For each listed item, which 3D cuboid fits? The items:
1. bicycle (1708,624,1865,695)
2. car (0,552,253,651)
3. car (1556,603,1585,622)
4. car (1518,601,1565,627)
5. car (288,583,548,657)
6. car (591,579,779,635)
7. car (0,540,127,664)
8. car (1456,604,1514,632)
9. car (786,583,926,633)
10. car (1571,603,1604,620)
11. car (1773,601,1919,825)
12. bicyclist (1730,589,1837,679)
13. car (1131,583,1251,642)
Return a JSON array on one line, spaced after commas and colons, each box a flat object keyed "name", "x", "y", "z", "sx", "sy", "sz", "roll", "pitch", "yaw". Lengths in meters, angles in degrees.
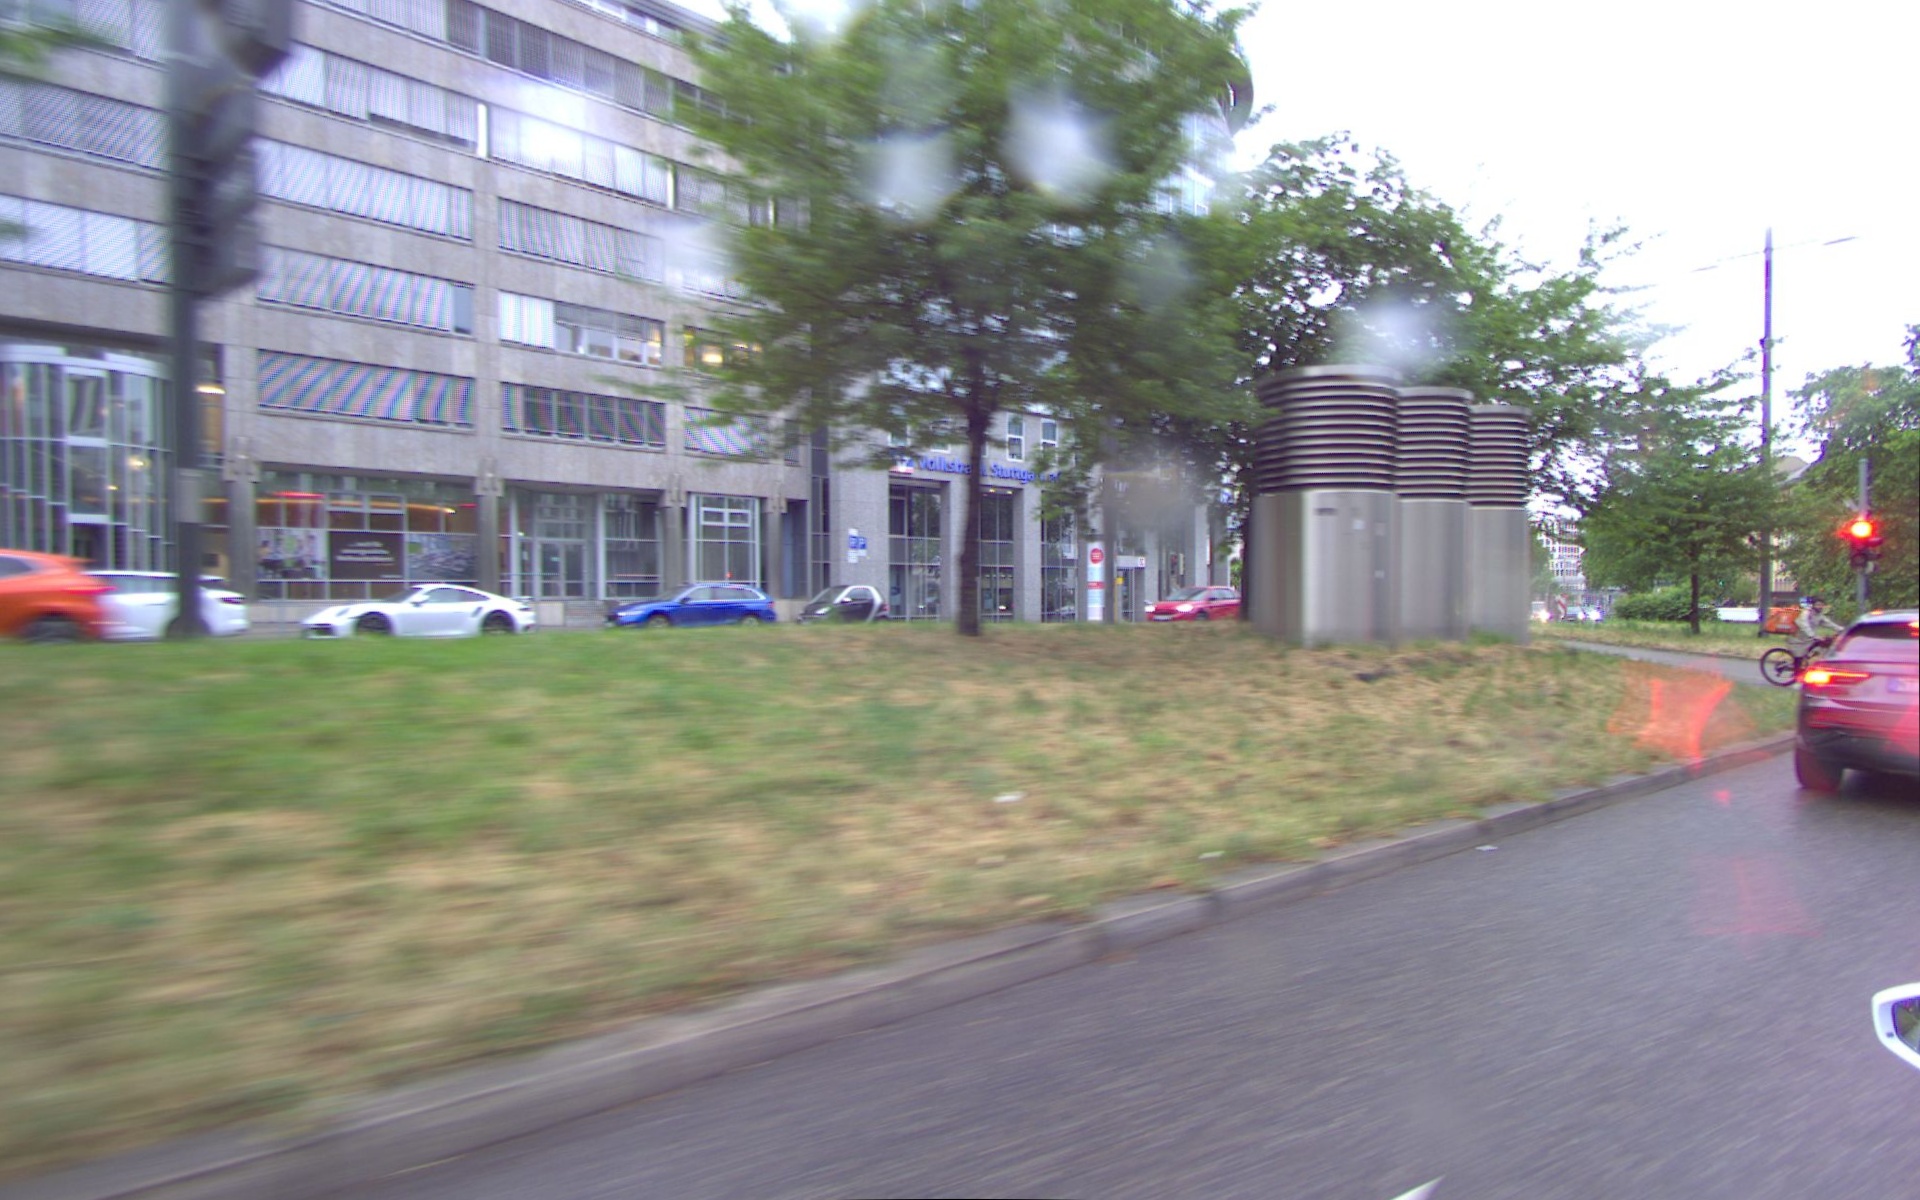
[{"name": "bicycle", "x": 15.593, "y": 1.104, "z": 19.030, "sx": 0.995, "sy": 1.129, "sz": 2.059, "roll": 2, "pitch": 2, "yaw": -17}, {"name": "car", "x": -15.661, "y": 0.019, "z": 17.923, "sx": 4.873, "sy": 1.644, "sz": 1.761, "roll": 1, "pitch": 1, "yaw": -40}, {"name": "car", "x": 51.541, "y": 1.070, "z": 84.817, "sx": 1.781, "sy": 1.506, "sz": 3.986, "roll": 3, "pitch": 1, "yaw": 35}, {"name": "car", "x": 39.736, "y": 0.937, "z": 68.633, "sx": 1.707, "sy": 1.750, "sz": 4.554, "roll": 1, "pitch": 0, "yaw": 44}, {"name": "car", "x": -11.449, "y": 0.383, "z": 21.429, "sx": 4.646, "sy": 1.420, "sz": 1.761, "roll": 0, "pitch": 0, "yaw": -40}, {"name": "car", "x": -7.175, "y": 0.180, "z": 26.467, "sx": 4.445, "sy": 1.343, "sz": 1.874, "roll": 1, "pitch": 0, "yaw": -44}, {"name": "car", "x": -12.515, "y": 0.027, "z": 11.813, "sx": 4.103, "sy": 1.448, "sz": 1.844, "roll": 0, "pitch": 0, "yaw": -43}, {"name": "car", "x": 30.105, "y": 1.002, "z": 57.523, "sx": 1.801, "sy": 1.495, "sz": 4.167, "roll": 1, "pitch": 0, "yaw": 44}, {"name": "car", "x": -3.114, "y": 0.227, "z": 30.434, "sx": 3.986, "sy": 1.420, "sz": 1.759, "roll": 0, "pitch": 0, "yaw": -42}, {"name": "car", "x": 59.942, "y": 1.060, "z": 95.886, "sx": 1.785, "sy": 1.506, "sz": 4.357, "roll": 3, "pitch": 1, "yaw": 44}, {"name": "car", "x": 8.728, "y": 0.843, "z": 8.737, "sx": 4.218, "sy": 1.638, "sz": 1.832, "roll": 0, "pitch": 1, "yaw": -41}, {"name": "bicyclist", "x": 15.596, "y": 0.625, "z": 19.046, "sx": 0.999, "sy": 1.603, "sz": 1.132, "roll": 2, "pitch": 2, "yaw": -17}, {"name": "car", "x": 7.333, "y": 0.376, "z": 31.693, "sx": 1.925, "sy": 1.723, "sz": 3.975, "roll": 1, "pitch": 0, "yaw": 45}]
